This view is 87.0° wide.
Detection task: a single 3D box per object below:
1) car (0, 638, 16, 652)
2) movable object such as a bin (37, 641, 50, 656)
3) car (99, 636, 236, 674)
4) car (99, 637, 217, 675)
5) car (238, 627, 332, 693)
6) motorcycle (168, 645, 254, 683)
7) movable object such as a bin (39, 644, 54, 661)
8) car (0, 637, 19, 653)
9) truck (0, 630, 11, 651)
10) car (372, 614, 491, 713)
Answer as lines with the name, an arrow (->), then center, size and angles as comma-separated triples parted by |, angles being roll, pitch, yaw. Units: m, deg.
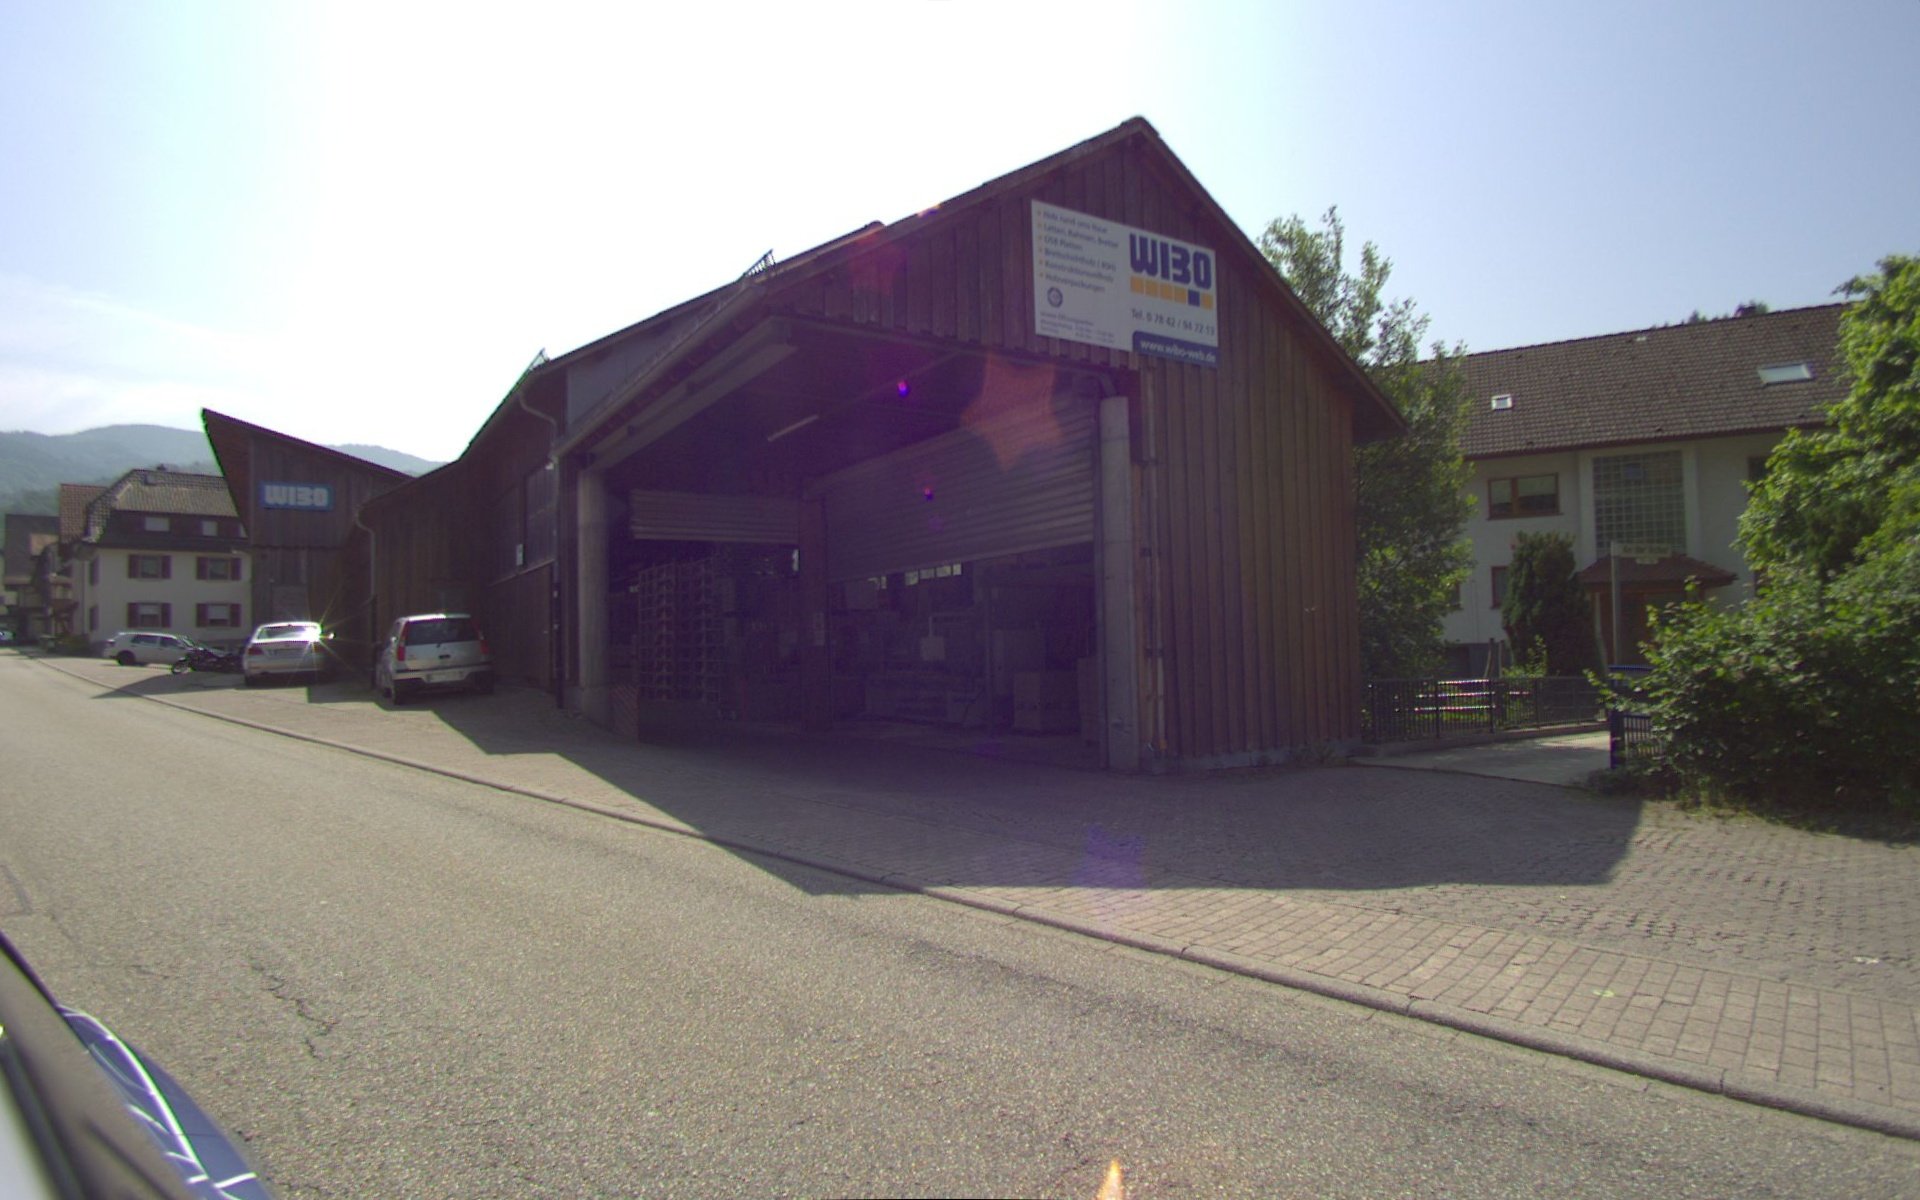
car -> -102.016, 4.751, 106.272 | 1.754, 1.514, 4.049 | -3, -3, 43
movable object such as a bin -> -71.882, 3.817, 79.361 | 0.709, 1.190, 0.598 | 4, -5, -44
car -> -35.607, 2.491, 45.620 | 4.367, 1.486, 1.930 | 4, -4, -19
car -> -34.116, 2.403, 43.181 | 3.608, 1.396, 1.716 | 5, -5, -29
car -> -16.705, 1.471, 25.235 | 1.705, 1.465, 4.818 | 0, -3, -31
motorcycle -> -26.450, 2.252, 35.807 | 2.376, 1.274, 0.745 | 2, -3, -35
movable object such as a bin -> -58.369, 3.364, 64.658 | 0.621, 1.075, 0.668 | -2, -3, 44
car -> -96.104, 4.501, 101.884 | 4.285, 1.565, 1.750 | -2, -1, 43
truck -> -105.779, 4.464, 109.621 | 1.998, 2.283, 4.124 | -2, -2, 40
car -> -10.118, 1.146, 19.228 | 1.559, 1.582, 4.034 | -3, 0, -33
